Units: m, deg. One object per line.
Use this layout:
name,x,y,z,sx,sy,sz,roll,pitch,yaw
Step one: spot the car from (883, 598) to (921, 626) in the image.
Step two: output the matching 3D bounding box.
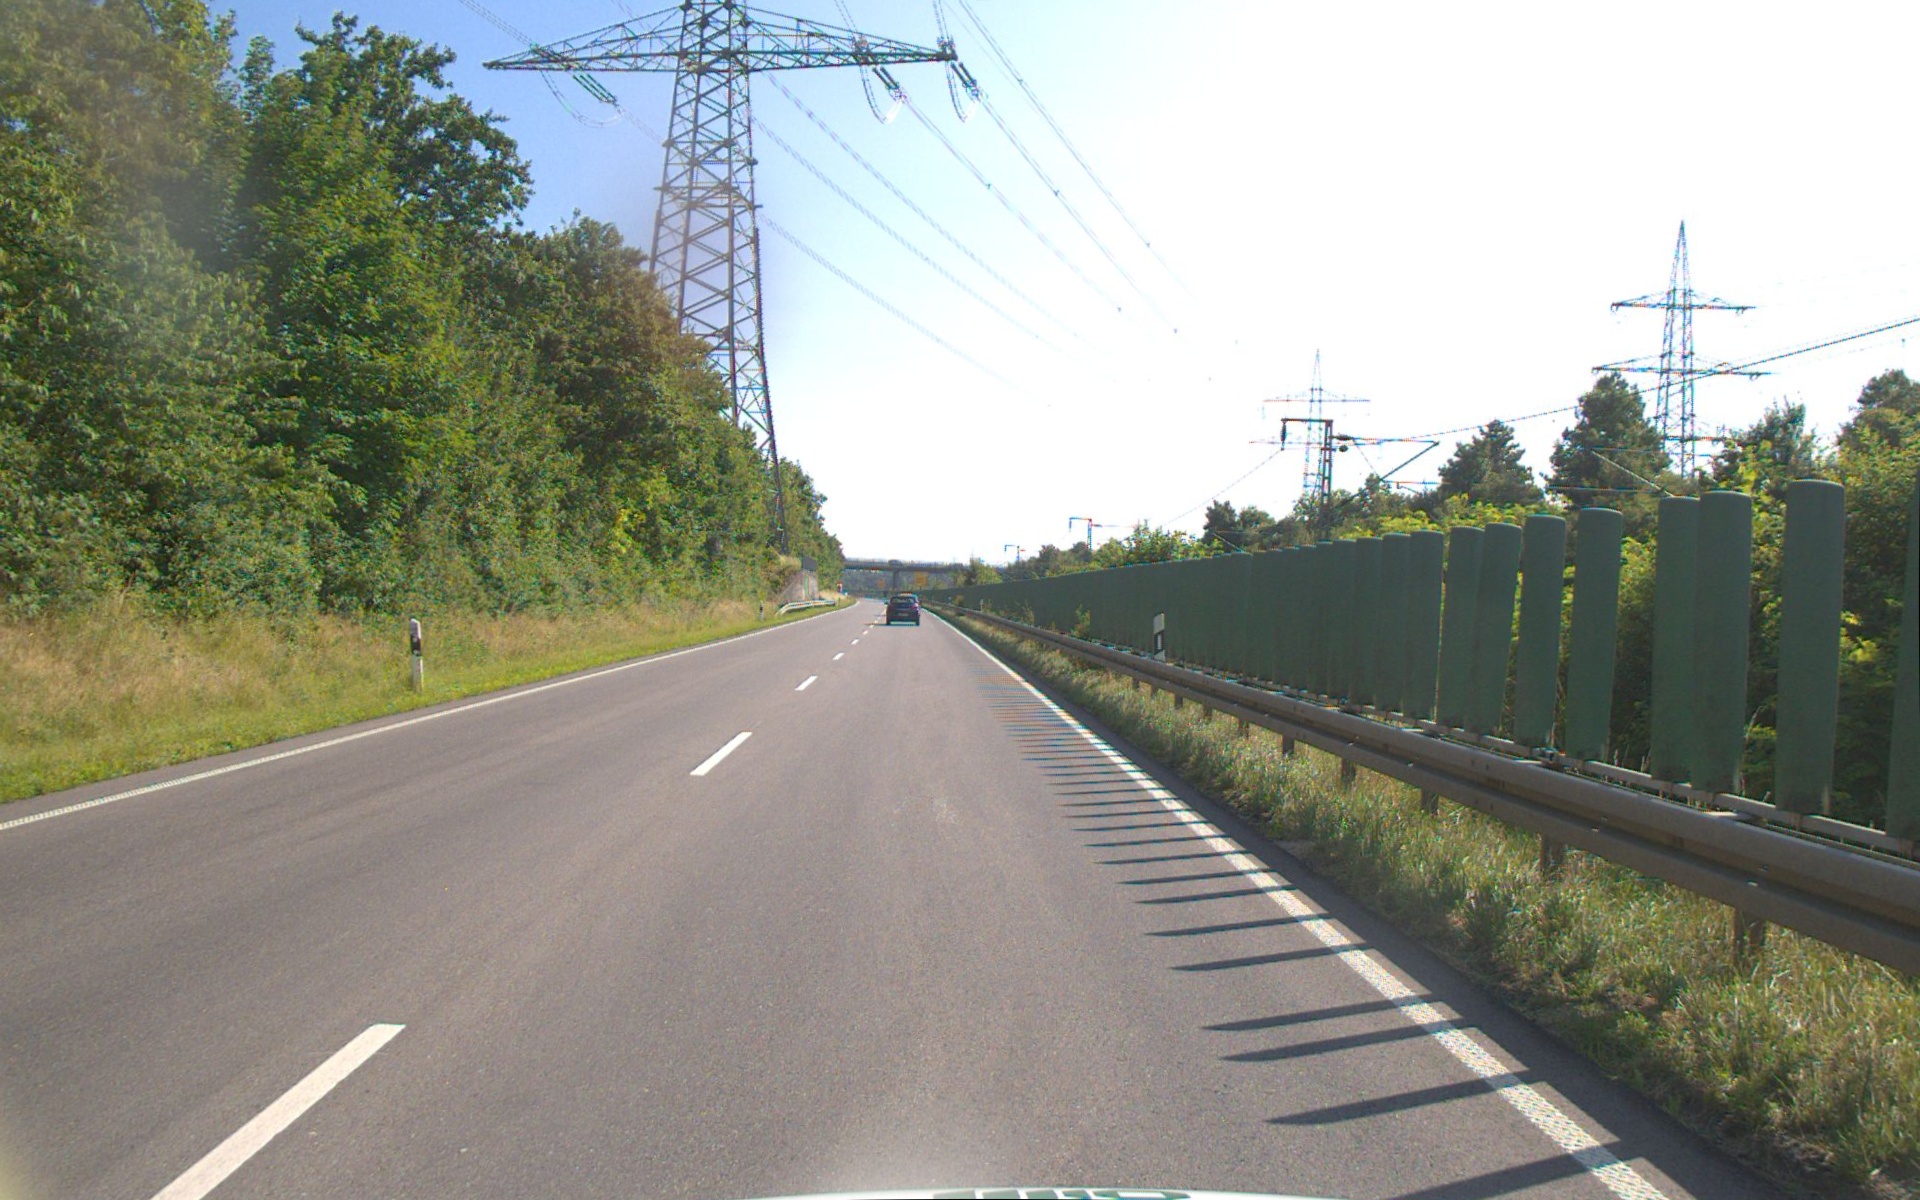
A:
car,-2.840,0.567,80.007,1.631,1.283,3.996,1,0,-5
